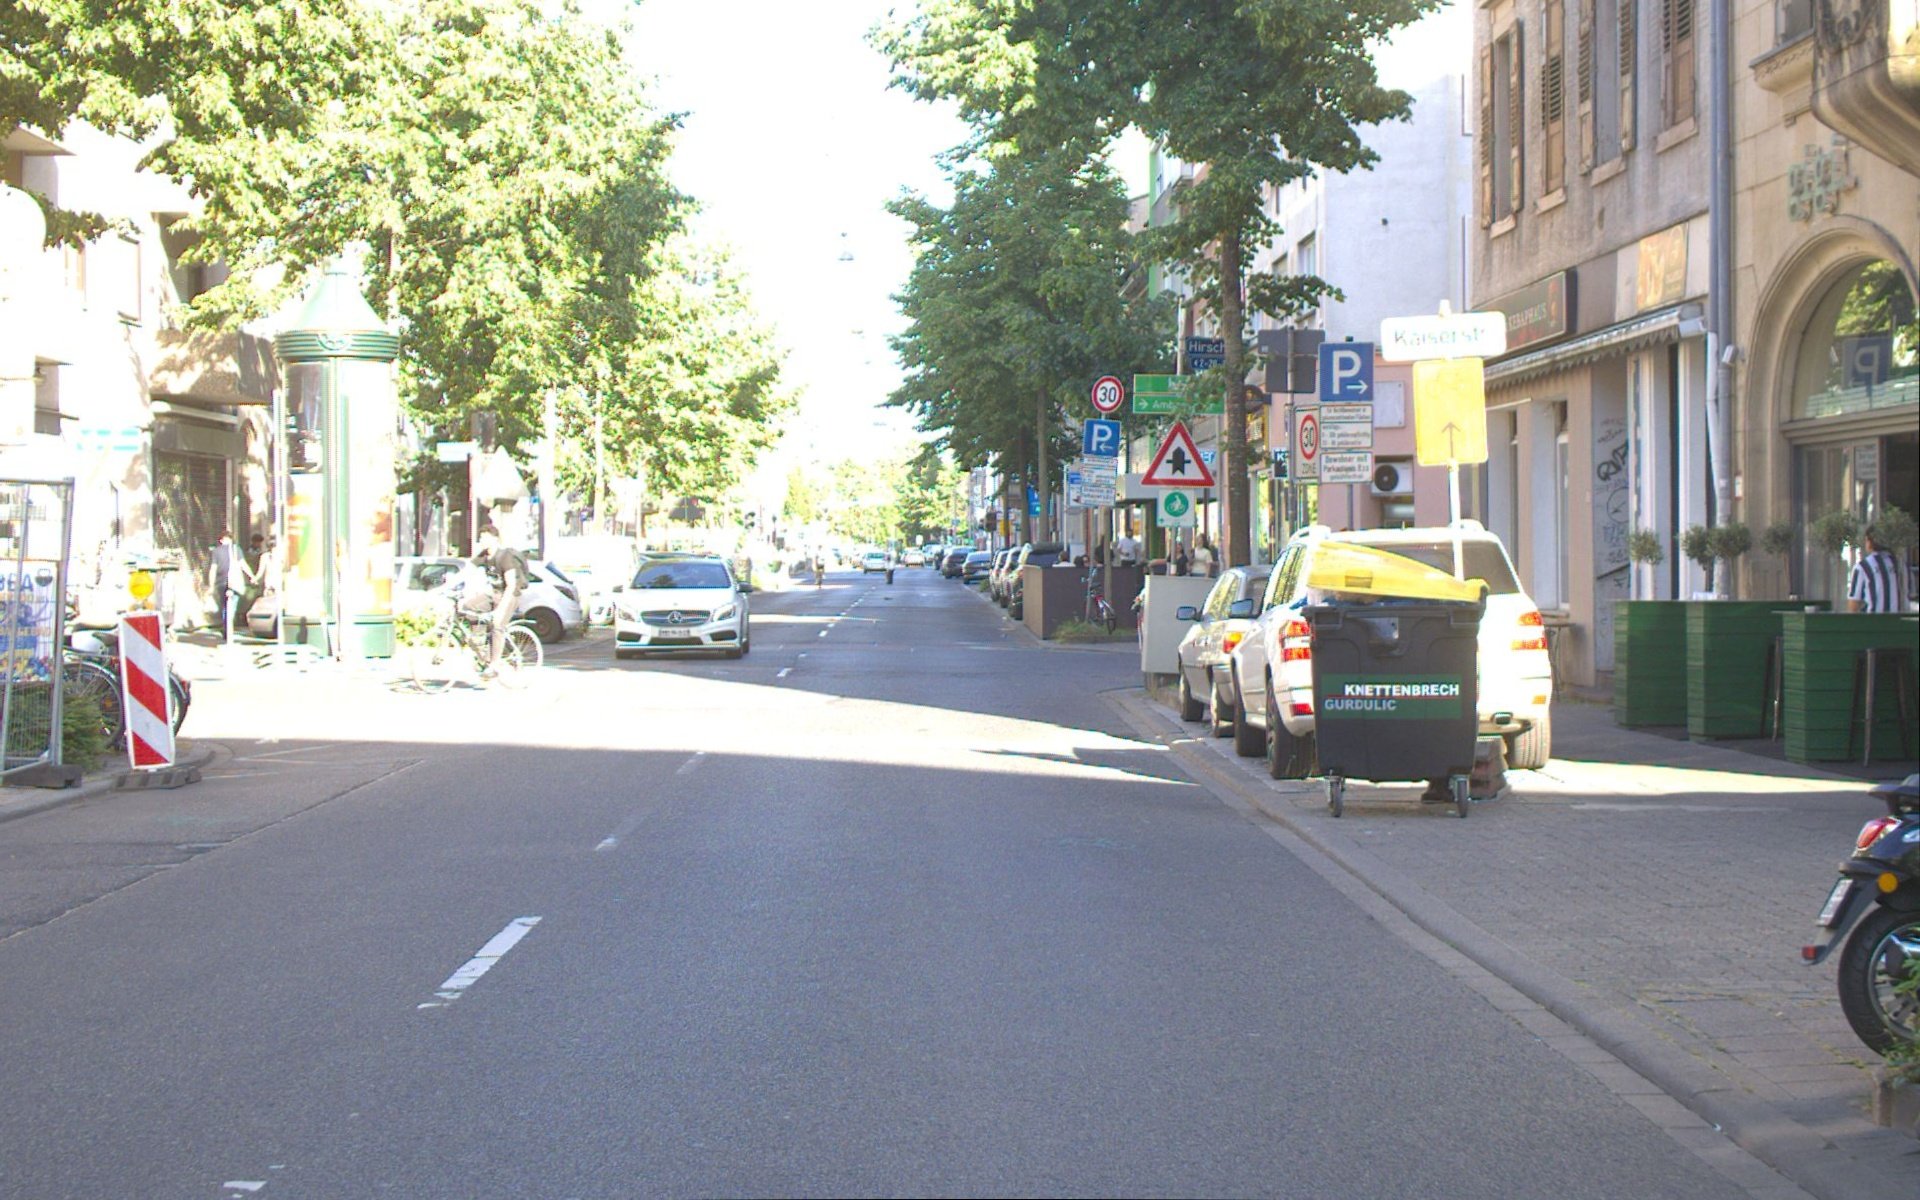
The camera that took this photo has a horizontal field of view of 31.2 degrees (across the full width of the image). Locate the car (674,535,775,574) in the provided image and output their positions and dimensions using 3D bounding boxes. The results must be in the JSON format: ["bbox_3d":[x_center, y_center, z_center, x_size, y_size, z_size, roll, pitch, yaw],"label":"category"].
[{"bbox_3d":[-9.469,-1.848,138.590,3.986,1.494,2.000,-1,1,-1],"label":"car"}]

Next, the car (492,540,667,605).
[{"bbox_3d":[-9.041,-0.647,82.019,3.986,1.495,2.000,-1,0,-1],"label":"car"}]

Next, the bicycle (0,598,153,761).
[{"bbox_3d":[-6.932,0.577,25.356,1.854,1.166,0.600,1,1,-8],"label":"bicycle"}]

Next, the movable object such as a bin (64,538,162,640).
[{"bbox_3d":[-12.597,-0.169,51.170,1.171,1.480,1.315,-1,1,-3],"label":"movable object such as a bin"}]

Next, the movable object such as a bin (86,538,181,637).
[{"bbox_3d":[-12.684,-0.203,52.799,1.171,1.480,1.315,-1,1,-3],"label":"movable object such as a bin"}]

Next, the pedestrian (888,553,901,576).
[{"bbox_3d":[-2.890,-1.561,151.939,0.545,1.023,0.546,-1,1,-3],"label":"pedestrian"}]

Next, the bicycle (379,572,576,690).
[{"bbox_3d":[-5.207,0.319,37.158,2.030,1.215,0.721,-1,1,-40],"label":"bicycle"}]

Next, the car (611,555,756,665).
[{"bbox_3d":[-3.945,0.110,49.658,1.802,1.430,4.410,-3,1,-2],"label":"car"}]

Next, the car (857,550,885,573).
[{"bbox_3d":[-5.781,-2.536,224.576,1.792,1.406,4.000,-1,1,-1],"label":"car"}]

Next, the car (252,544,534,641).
[{"bbox_3d":[-8.559,-0.127,52.167,3.986,1.385,2.000,-1,1,-1],"label":"car"}]

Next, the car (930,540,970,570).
[{"bbox_3d":[-0.541,-2.290,176.747,1.993,1.503,4.000,0,0,-1],"label":"car"}]

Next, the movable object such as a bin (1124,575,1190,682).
[{"bbox_3d":[2.212,0.315,38.679,0.659,1.175,0.739,-1,1,-3],"label":"movable object such as a bin"}]

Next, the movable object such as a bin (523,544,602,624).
[{"bbox_3d":[-7.465,-0.303,64.637,1.334,1.473,1.480,-1,1,-1],"label":"movable object such as a bin"}]

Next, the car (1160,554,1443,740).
[{"bbox_3d":[2.856,0.350,29.620,1.822,1.386,4.301,-3,1,-2],"label":"car"}]

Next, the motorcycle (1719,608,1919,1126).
[{"bbox_3d":[3.248,0.692,9.651,1.977,1.325,0.912,-1,1,-13],"label":"motorcycle"}]

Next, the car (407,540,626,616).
[{"bbox_3d":[-8.758,-0.448,68.064,3.987,1.452,1.868,0,1,4],"label":"car"}]

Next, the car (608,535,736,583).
[{"bbox_3d":[-9.240,-1.324,110.641,3.986,1.494,2.000,-1,1,-1],"label":"car"}]

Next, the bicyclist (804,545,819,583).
[{"bbox_3d":[-5.978,-1.455,138.319,0.560,1.542,0.728,0,0,-1],"label":"bicyclist"}]

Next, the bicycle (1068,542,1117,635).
[{"bbox_3d":[2.157,-0.202,56.142,0.560,1.436,1.628,-6,1,-1],"label":"bicycle"}]

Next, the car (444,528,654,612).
[{"bbox_3d":[-8.442,-0.629,70.863,3.987,1.688,2.000,0,1,4],"label":"car"}]

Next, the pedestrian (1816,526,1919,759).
[{"bbox_3d":[6.184,0.276,23.186,0.610,1.535,0.699,-1,1,-1],"label":"pedestrian"}]

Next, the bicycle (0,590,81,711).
[{"bbox_3d":[-8.912,0.459,30.660,1.950,1.055,0.769,-1,1,-44],"label":"bicycle"}]

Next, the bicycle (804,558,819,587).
[{"bbox_3d":[-5.970,-1.100,138.306,0.560,1.176,1.628,0,0,-1],"label":"bicycle"}]

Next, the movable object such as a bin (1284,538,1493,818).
[{"bbox_3d":[2.498,0.428,20.024,1.143,1.556,1.459,-1,1,8],"label":"movable object such as a bin"}]

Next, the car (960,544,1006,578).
[{"bbox_3d":[1.026,-1.765,157.175,1.993,1.503,4.000,0,0,-1],"label":"car"}]

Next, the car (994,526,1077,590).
[{"bbox_3d":[1.932,-1.117,89.174,1.993,1.604,4.000,-1,1,-1],"label":"car"}]

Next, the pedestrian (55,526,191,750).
[{"bbox_3d":[-6.503,0.285,26.703,0.792,1.701,0.767,0,1,-34],"label":"pedestrian"}]

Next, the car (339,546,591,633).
[{"bbox_3d":[-8.306,-0.195,57.956,3.986,1.385,2.000,-1,1,-1],"label":"car"}]

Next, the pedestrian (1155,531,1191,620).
[{"bbox_3d":[3.981,-0.470,64.164,0.546,1.644,0.665,-1,1,-7],"label":"pedestrian"}]

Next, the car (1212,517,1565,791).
[{"bbox_3d":[2.914,0.305,24.299,1.822,1.673,4.601,-3,1,0],"label":"car"}]

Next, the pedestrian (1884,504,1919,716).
[{"bbox_3d":[7.341,0.062,25.649,0.697,1.560,0.612,-1,1,-1],"label":"pedestrian"}]

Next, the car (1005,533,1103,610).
[{"bbox_3d":[2.045,-0.651,75.805,1.993,1.604,4.000,-1,1,-1],"label":"car"}]

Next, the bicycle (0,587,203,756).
[{"bbox_3d":[-6.710,0.534,26.030,1.854,1.248,0.600,1,1,-8],"label":"bicycle"}]

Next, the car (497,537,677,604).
[{"bbox_3d":[-8.610,-0.698,79.680,3.986,1.494,2.000,-1,1,-1],"label":"car"}]

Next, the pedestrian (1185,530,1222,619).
[{"bbox_3d":[4.559,-0.482,64.409,0.546,1.644,0.665,-1,1,-8],"label":"pedestrian"}]

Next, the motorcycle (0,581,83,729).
[{"bbox_3d":[-8.393,0.456,29.070,1.852,1.225,0.757,1,1,-12],"label":"motorcycle"}]

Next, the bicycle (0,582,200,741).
[{"bbox_3d":[-7.096,0.491,27.682,1.854,1.248,0.600,1,1,-8],"label":"bicycle"}]

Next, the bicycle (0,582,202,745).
[{"bbox_3d":[-6.936,0.491,27.042,1.854,1.248,0.600,1,1,-8],"label":"bicycle"}]

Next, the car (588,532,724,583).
[{"bbox_3d":[-9.222,-1.287,104.395,3.986,1.494,2.000,-1,1,-1],"label":"car"}]

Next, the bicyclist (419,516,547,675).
[{"bbox_3d":[-5.156,-0.056,37.195,1.154,1.687,0.721,-1,1,-40],"label":"bicyclist"}]

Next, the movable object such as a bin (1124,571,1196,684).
[{"bbox_3d":[2.204,0.296,37.936,0.705,1.218,0.681,-1,1,-3],"label":"movable object such as a bin"}]

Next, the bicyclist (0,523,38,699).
[{"bbox_3d":[-8.895,0.098,30.652,1.038,1.555,0.769,-1,1,-44],"label":"bicyclist"}]

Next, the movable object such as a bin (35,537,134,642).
[{"bbox_3d":[-12.649,-0.164,49.713,1.140,1.480,1.236,-1,1,-3],"label":"movable object such as a bin"}]
